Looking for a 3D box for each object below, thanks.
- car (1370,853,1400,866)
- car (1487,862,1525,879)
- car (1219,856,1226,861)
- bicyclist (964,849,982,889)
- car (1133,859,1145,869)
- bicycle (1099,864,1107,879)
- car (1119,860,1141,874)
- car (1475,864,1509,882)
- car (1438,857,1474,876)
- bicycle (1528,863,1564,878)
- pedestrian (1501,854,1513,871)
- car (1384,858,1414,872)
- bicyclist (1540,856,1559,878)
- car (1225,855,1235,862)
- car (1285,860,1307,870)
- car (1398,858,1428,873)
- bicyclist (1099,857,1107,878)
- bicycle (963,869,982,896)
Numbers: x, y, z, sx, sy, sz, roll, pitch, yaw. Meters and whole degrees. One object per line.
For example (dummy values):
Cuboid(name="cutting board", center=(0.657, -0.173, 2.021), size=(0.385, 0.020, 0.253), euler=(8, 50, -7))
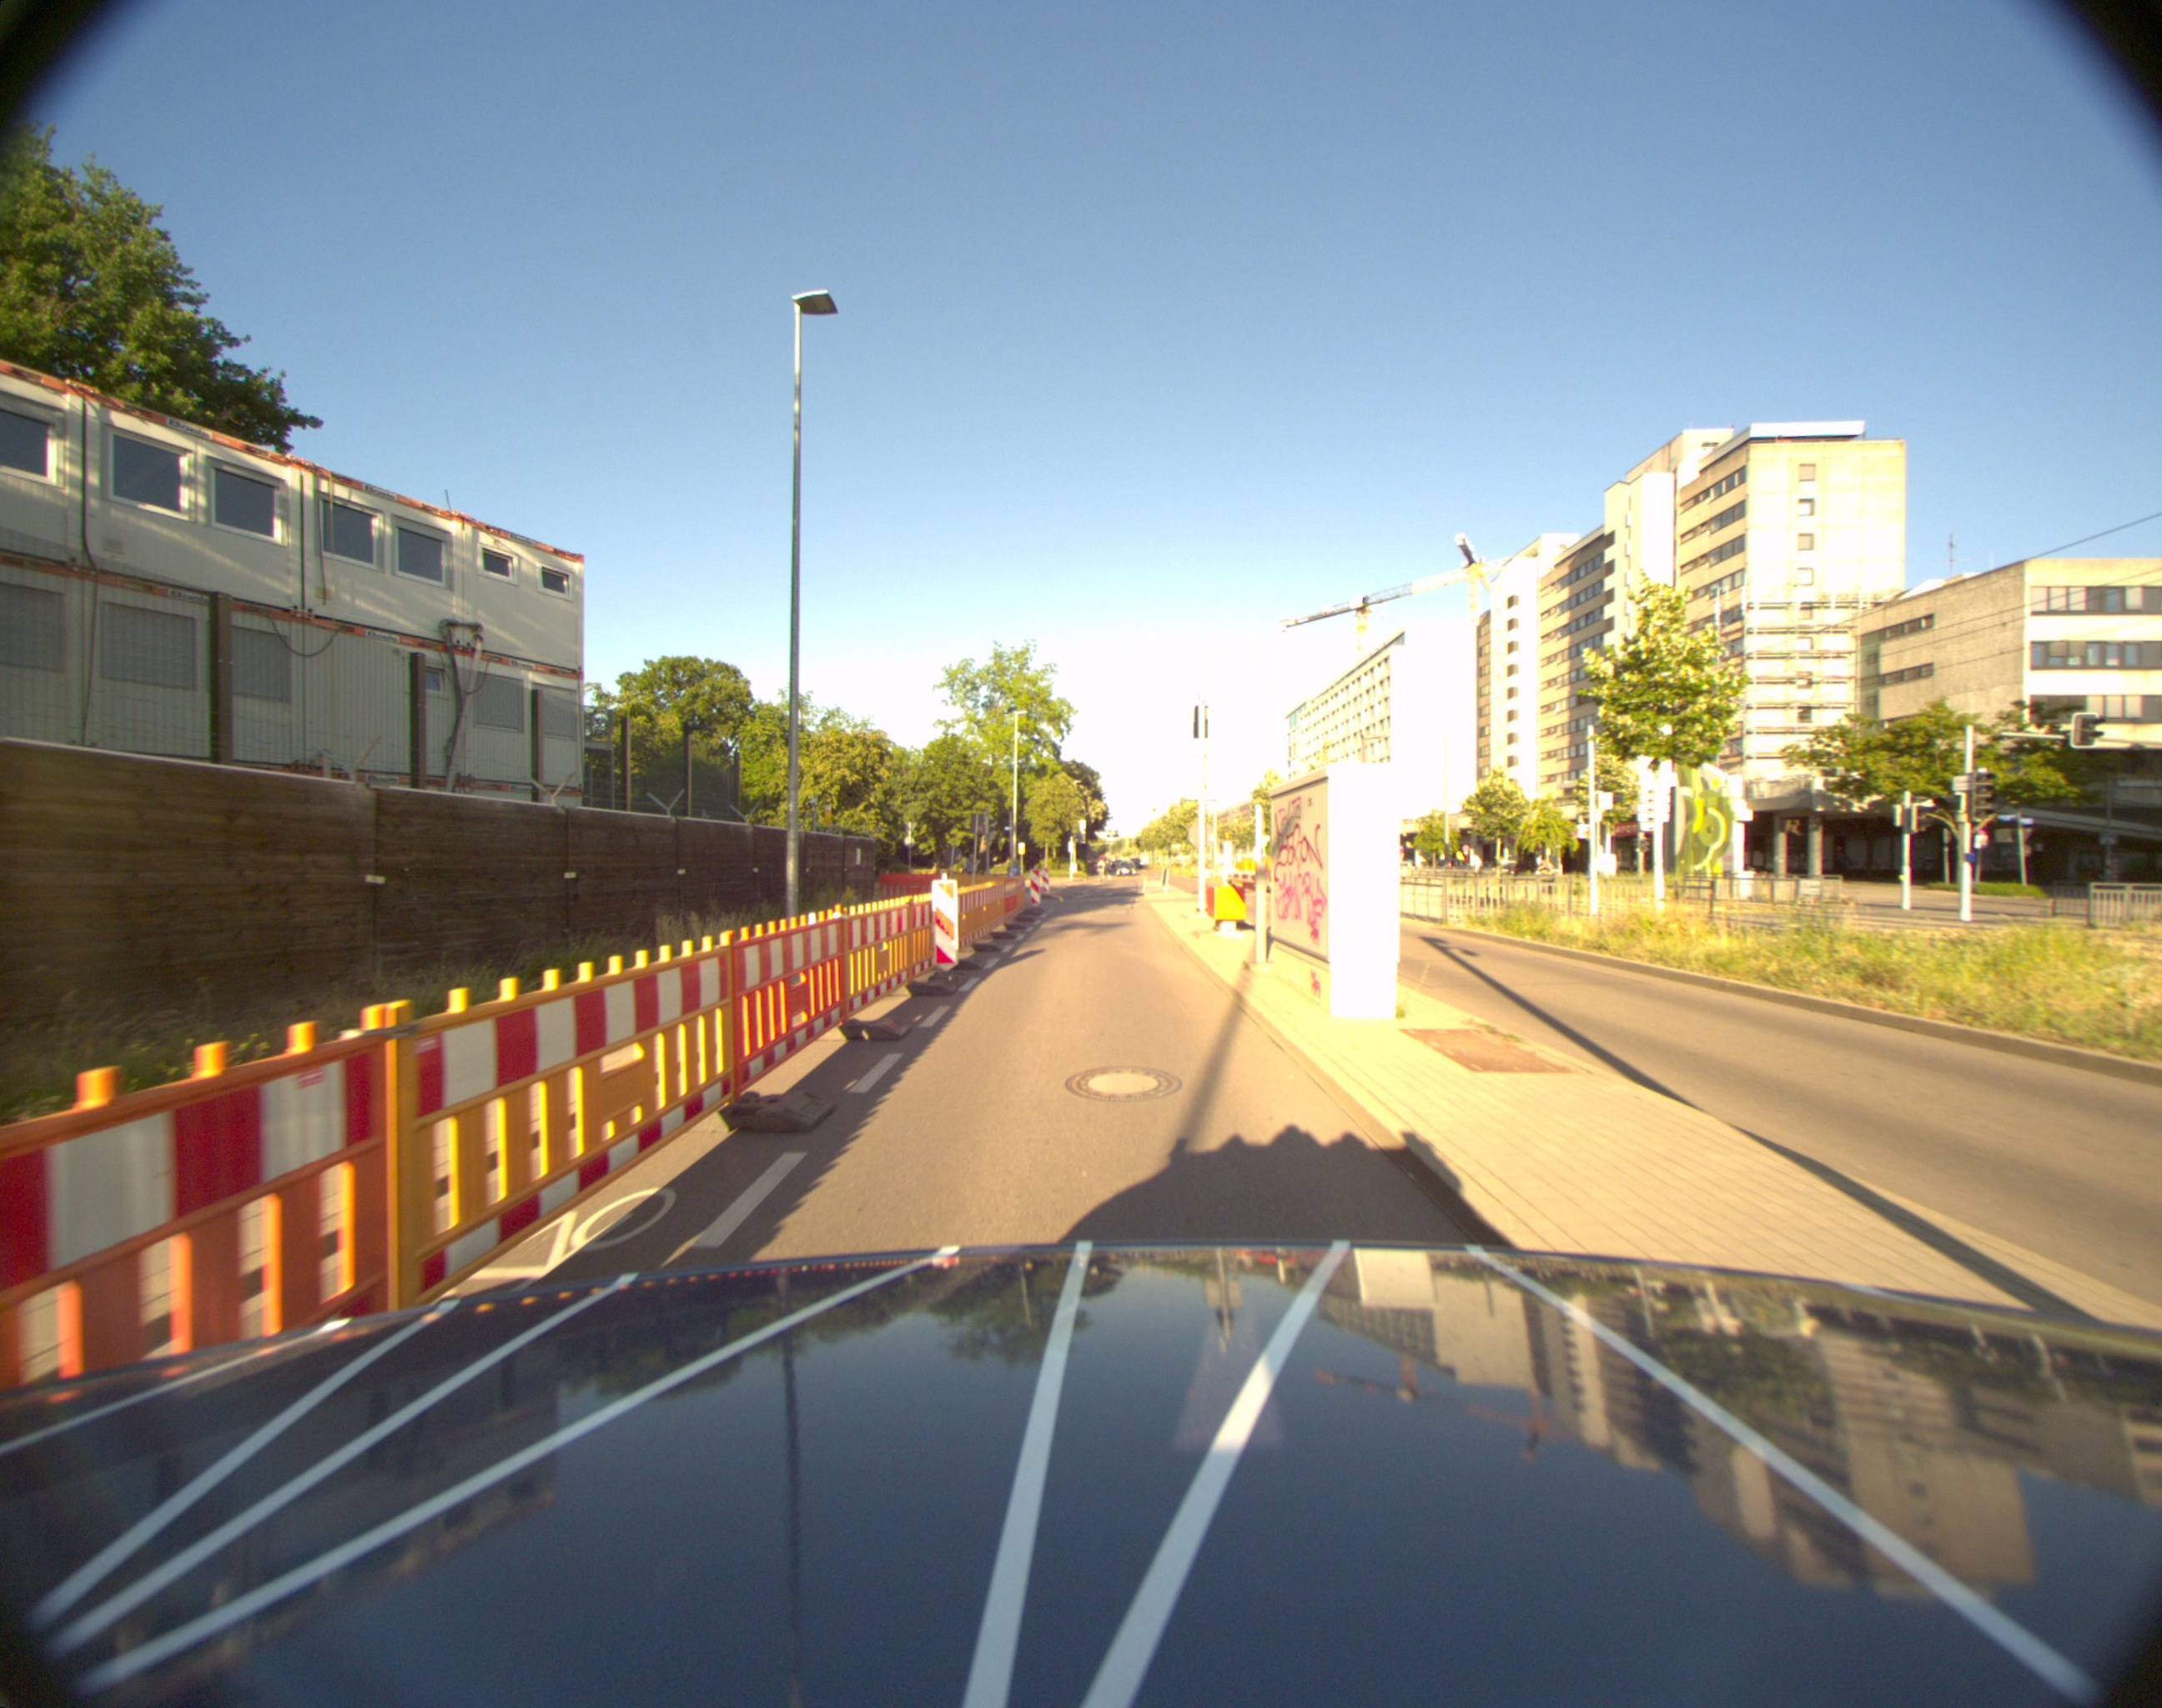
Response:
Cuboid(name="car", center=(36.544, 0.627, 91.248), size=(4.556, 1.436, 1.617), euler=(-2, 1, -43))
Cuboid(name="car", center=(35.162, 1.329, 62.832), size=(3.473, 1.266, 1.617), euler=(-2, 1, -42))
Cuboid(name="car", center=(44.467, 1.357, 239.149), size=(1.613, 1.370, 3.879), euler=(-2, 0, 2))
Cuboid(name="bicyclist", center=(-4.419, 0.608, 31.181), size=(0.585, 1.605, 0.903), euler=(0, 1, 1))
Cuboid(name="car", center=(8.544, 1.442, 111.902), size=(1.591, 1.448, 4.001), euler=(0, 0, 2))
Cuboid(name="bicycle", center=(1.505, 1.172, 52.061), size=(0.506, 1.018, 1.505), euler=(0, 0, 2))
Cuboid(name="car", center=(4.778, 1.231, 74.283), size=(1.998, 1.346, 4.001), euler=(0, 0, 2))
Cuboid(name="car", center=(36.836, 1.694, 68.096), size=(3.473, 1.394, 1.617), euler=(-2, 1, -42))
Cuboid(name="car", center=(36.955, 1.230, 74.841), size=(4.204, 1.681, 1.617), euler=(-2, 1, -39))
Cuboid(name="bicycle", center=(29.440, 1.055, 48.162), size=(0.507, 0.886, 2.027), euler=(0, 0, -22))
Cuboid(name="pedestrian", center=(41.887, 0.842, 74.712), size=(0.776, 1.630, 0.882), euler=(0, 1, 1))
Cuboid(name="car", center=(36.734, 1.244, 87.659), size=(3.809, 1.436, 1.785), euler=(-2, 1, -43))
Cuboid(name="bicyclist", center=(29.452, 0.825, 47.771), size=(0.737, 1.386, 0.715), euler=(-1, 0, -23))
Cuboid(name="car", center=(38.437, 1.167, 195.864), size=(1.874, 1.579, 4.639), euler=(-2, 0, 2))
Cuboid(name="car", center=(31.003, 1.568, 109.653), size=(1.780, 1.455, 4.662), euler=(0, 0, 1))
Cuboid(name="car", center=(37.106, 1.262, 84.875), size=(3.800, 1.436, 1.617), euler=(-2, 1, -42))
Cuboid(name="bicyclist", center=(1.497, 0.913, 52.018), size=(0.516, 1.399, 0.805), euler=(0, 0, 1))
Cuboid(name="bicycle", center=(-4.439, 1.147, 31.186), size=(0.428, 1.055, 1.911), euler=(0, 0, 2))
